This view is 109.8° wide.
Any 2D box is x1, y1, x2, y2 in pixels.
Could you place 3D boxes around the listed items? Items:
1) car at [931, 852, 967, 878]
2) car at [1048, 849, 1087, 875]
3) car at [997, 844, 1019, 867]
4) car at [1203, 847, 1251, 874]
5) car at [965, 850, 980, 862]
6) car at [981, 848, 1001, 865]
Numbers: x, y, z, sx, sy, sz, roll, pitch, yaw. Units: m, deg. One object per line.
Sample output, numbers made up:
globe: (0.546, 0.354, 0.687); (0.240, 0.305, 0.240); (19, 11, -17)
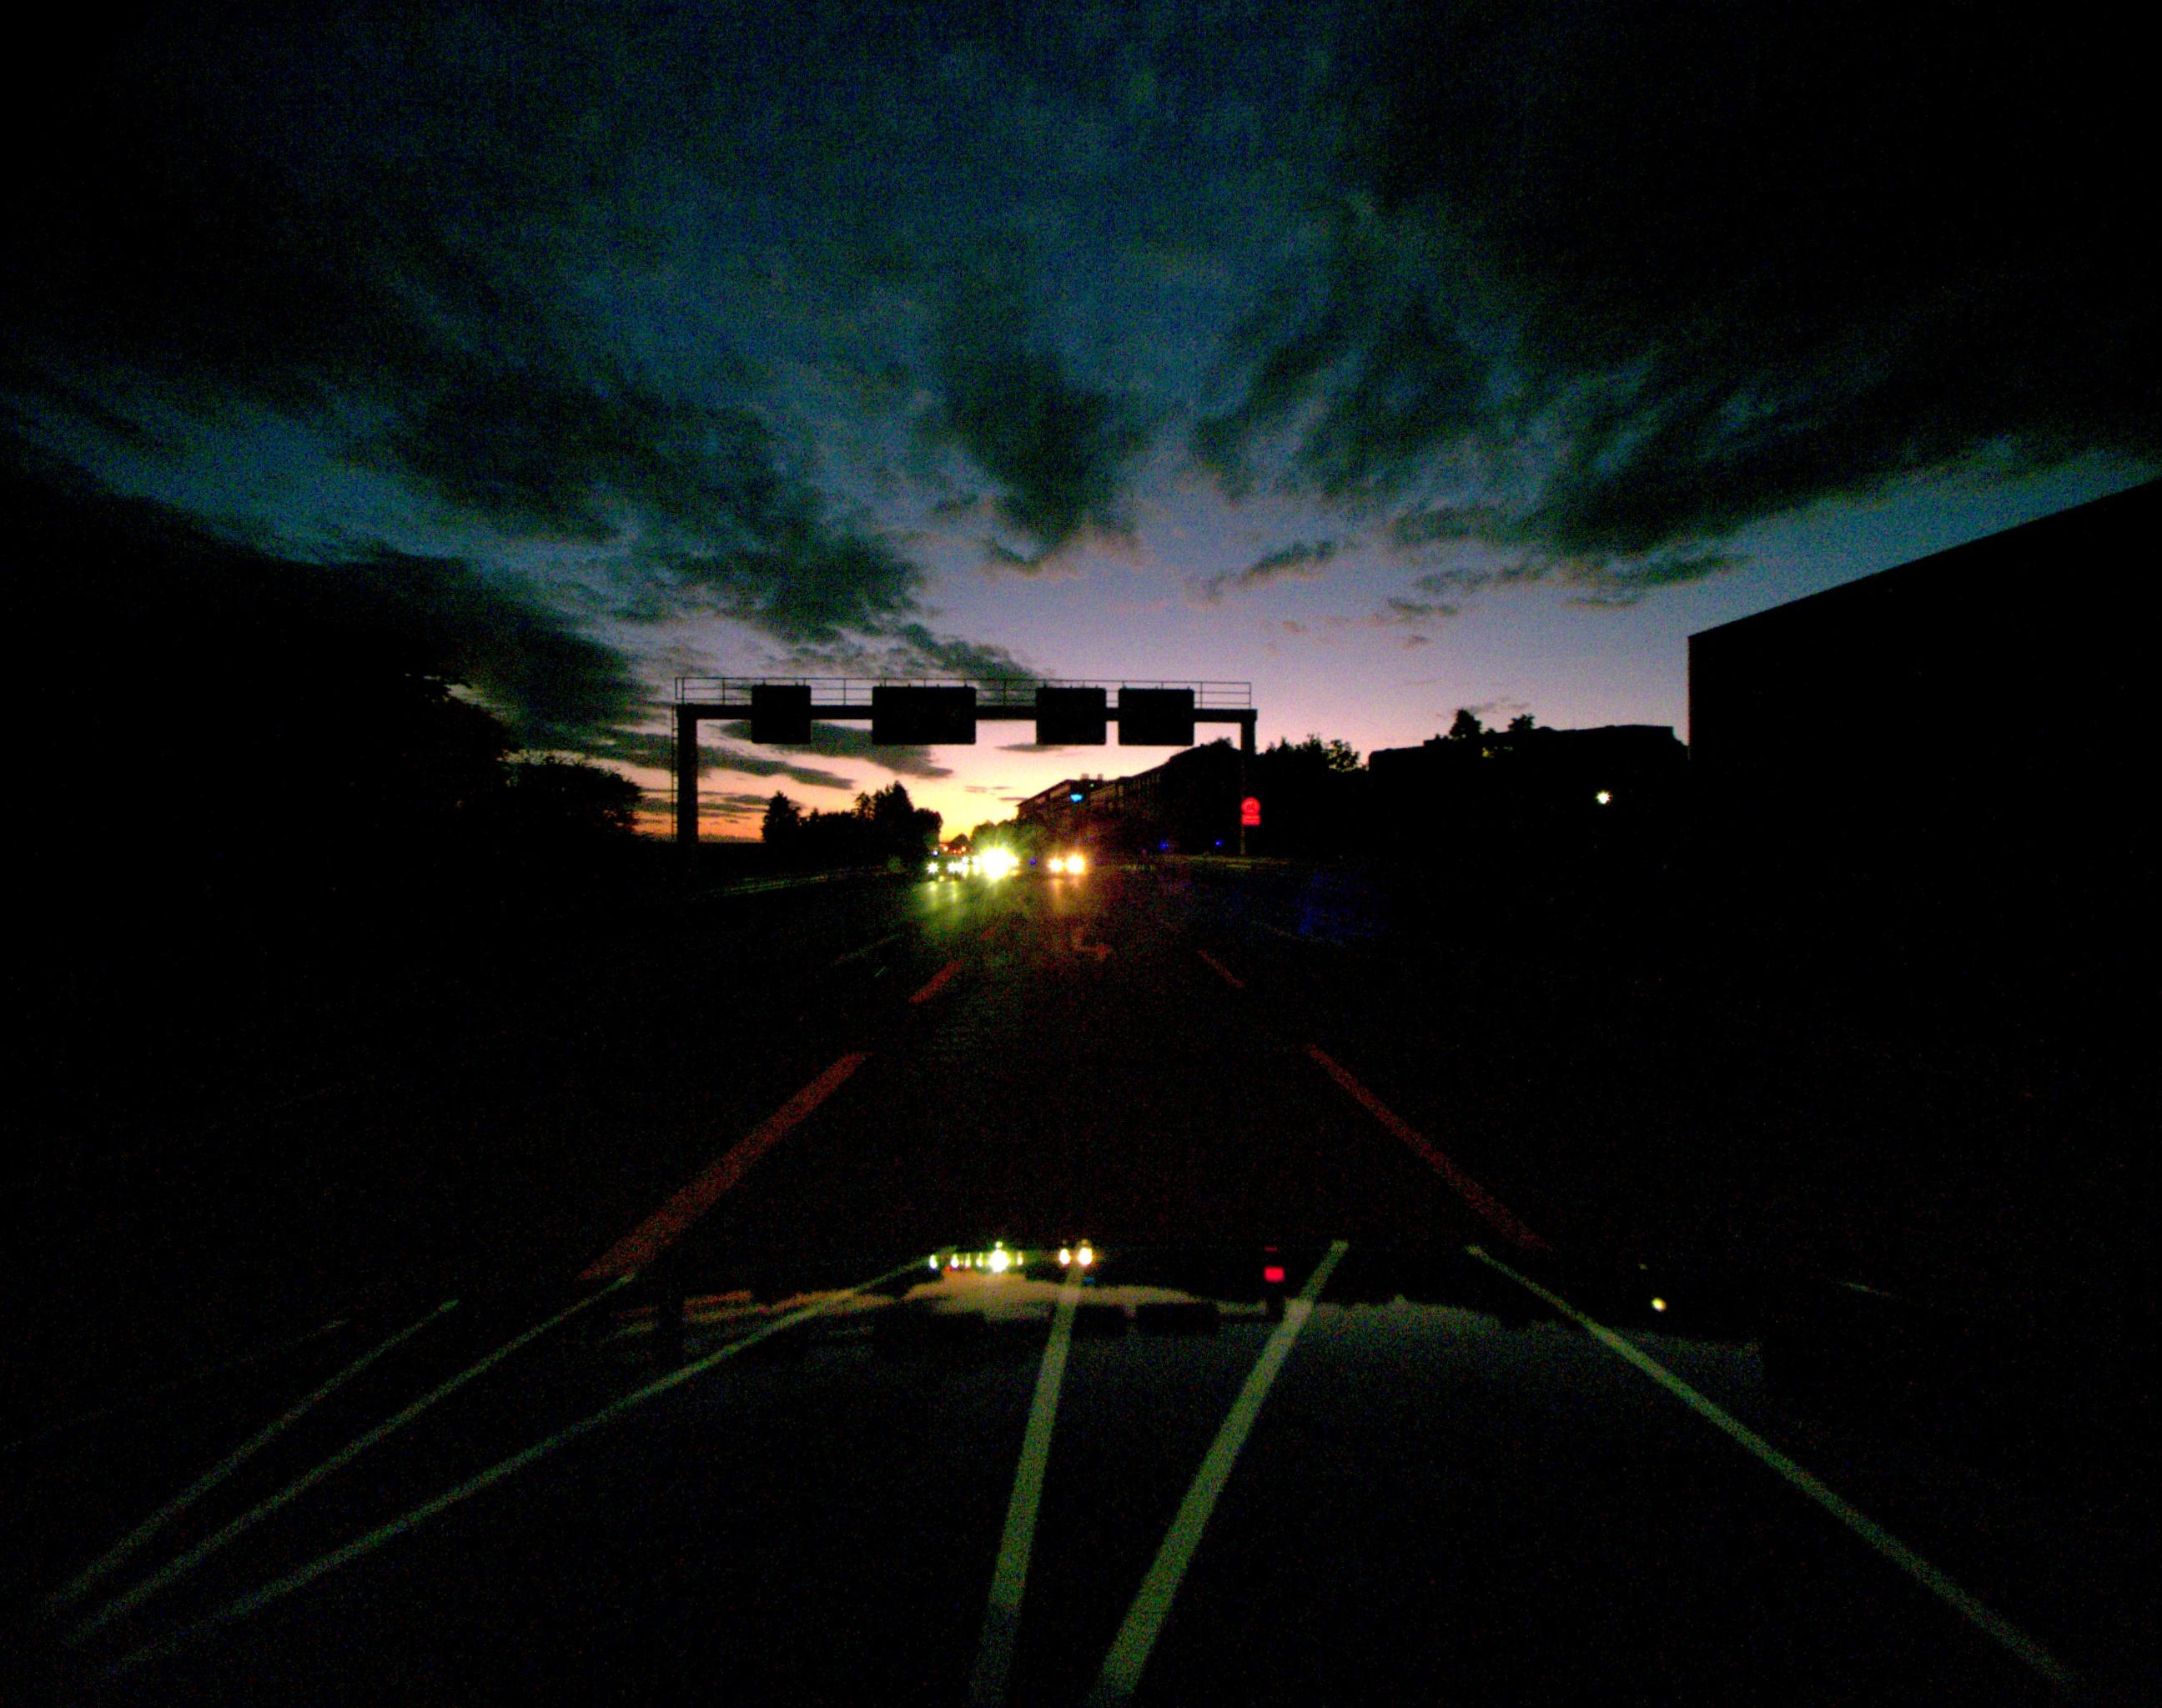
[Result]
car: (-9.036, 0.728, 52.176); (1.999, 1.575, 3.998); (-3, 1, -5)
car: (-0.881, 0.466, 47.079); (1.757, 1.447, 3.800); (-3, 1, -9)
car: (-6.829, 0.139, 71.333); (1.863, 2.002, 3.997); (-3, 1, -5)
car: (8.828, 0.379, 46.260); (1.999, 1.473, 4.681); (-1, 0, 0)
car: (-15.252, 0.268, 106.690); (1.857, 1.612, 3.997); (-2, 0, -9)
car: (-9.820, 0.266, 82.564); (1.834, 1.740, 3.847); (-3, 1, -10)
